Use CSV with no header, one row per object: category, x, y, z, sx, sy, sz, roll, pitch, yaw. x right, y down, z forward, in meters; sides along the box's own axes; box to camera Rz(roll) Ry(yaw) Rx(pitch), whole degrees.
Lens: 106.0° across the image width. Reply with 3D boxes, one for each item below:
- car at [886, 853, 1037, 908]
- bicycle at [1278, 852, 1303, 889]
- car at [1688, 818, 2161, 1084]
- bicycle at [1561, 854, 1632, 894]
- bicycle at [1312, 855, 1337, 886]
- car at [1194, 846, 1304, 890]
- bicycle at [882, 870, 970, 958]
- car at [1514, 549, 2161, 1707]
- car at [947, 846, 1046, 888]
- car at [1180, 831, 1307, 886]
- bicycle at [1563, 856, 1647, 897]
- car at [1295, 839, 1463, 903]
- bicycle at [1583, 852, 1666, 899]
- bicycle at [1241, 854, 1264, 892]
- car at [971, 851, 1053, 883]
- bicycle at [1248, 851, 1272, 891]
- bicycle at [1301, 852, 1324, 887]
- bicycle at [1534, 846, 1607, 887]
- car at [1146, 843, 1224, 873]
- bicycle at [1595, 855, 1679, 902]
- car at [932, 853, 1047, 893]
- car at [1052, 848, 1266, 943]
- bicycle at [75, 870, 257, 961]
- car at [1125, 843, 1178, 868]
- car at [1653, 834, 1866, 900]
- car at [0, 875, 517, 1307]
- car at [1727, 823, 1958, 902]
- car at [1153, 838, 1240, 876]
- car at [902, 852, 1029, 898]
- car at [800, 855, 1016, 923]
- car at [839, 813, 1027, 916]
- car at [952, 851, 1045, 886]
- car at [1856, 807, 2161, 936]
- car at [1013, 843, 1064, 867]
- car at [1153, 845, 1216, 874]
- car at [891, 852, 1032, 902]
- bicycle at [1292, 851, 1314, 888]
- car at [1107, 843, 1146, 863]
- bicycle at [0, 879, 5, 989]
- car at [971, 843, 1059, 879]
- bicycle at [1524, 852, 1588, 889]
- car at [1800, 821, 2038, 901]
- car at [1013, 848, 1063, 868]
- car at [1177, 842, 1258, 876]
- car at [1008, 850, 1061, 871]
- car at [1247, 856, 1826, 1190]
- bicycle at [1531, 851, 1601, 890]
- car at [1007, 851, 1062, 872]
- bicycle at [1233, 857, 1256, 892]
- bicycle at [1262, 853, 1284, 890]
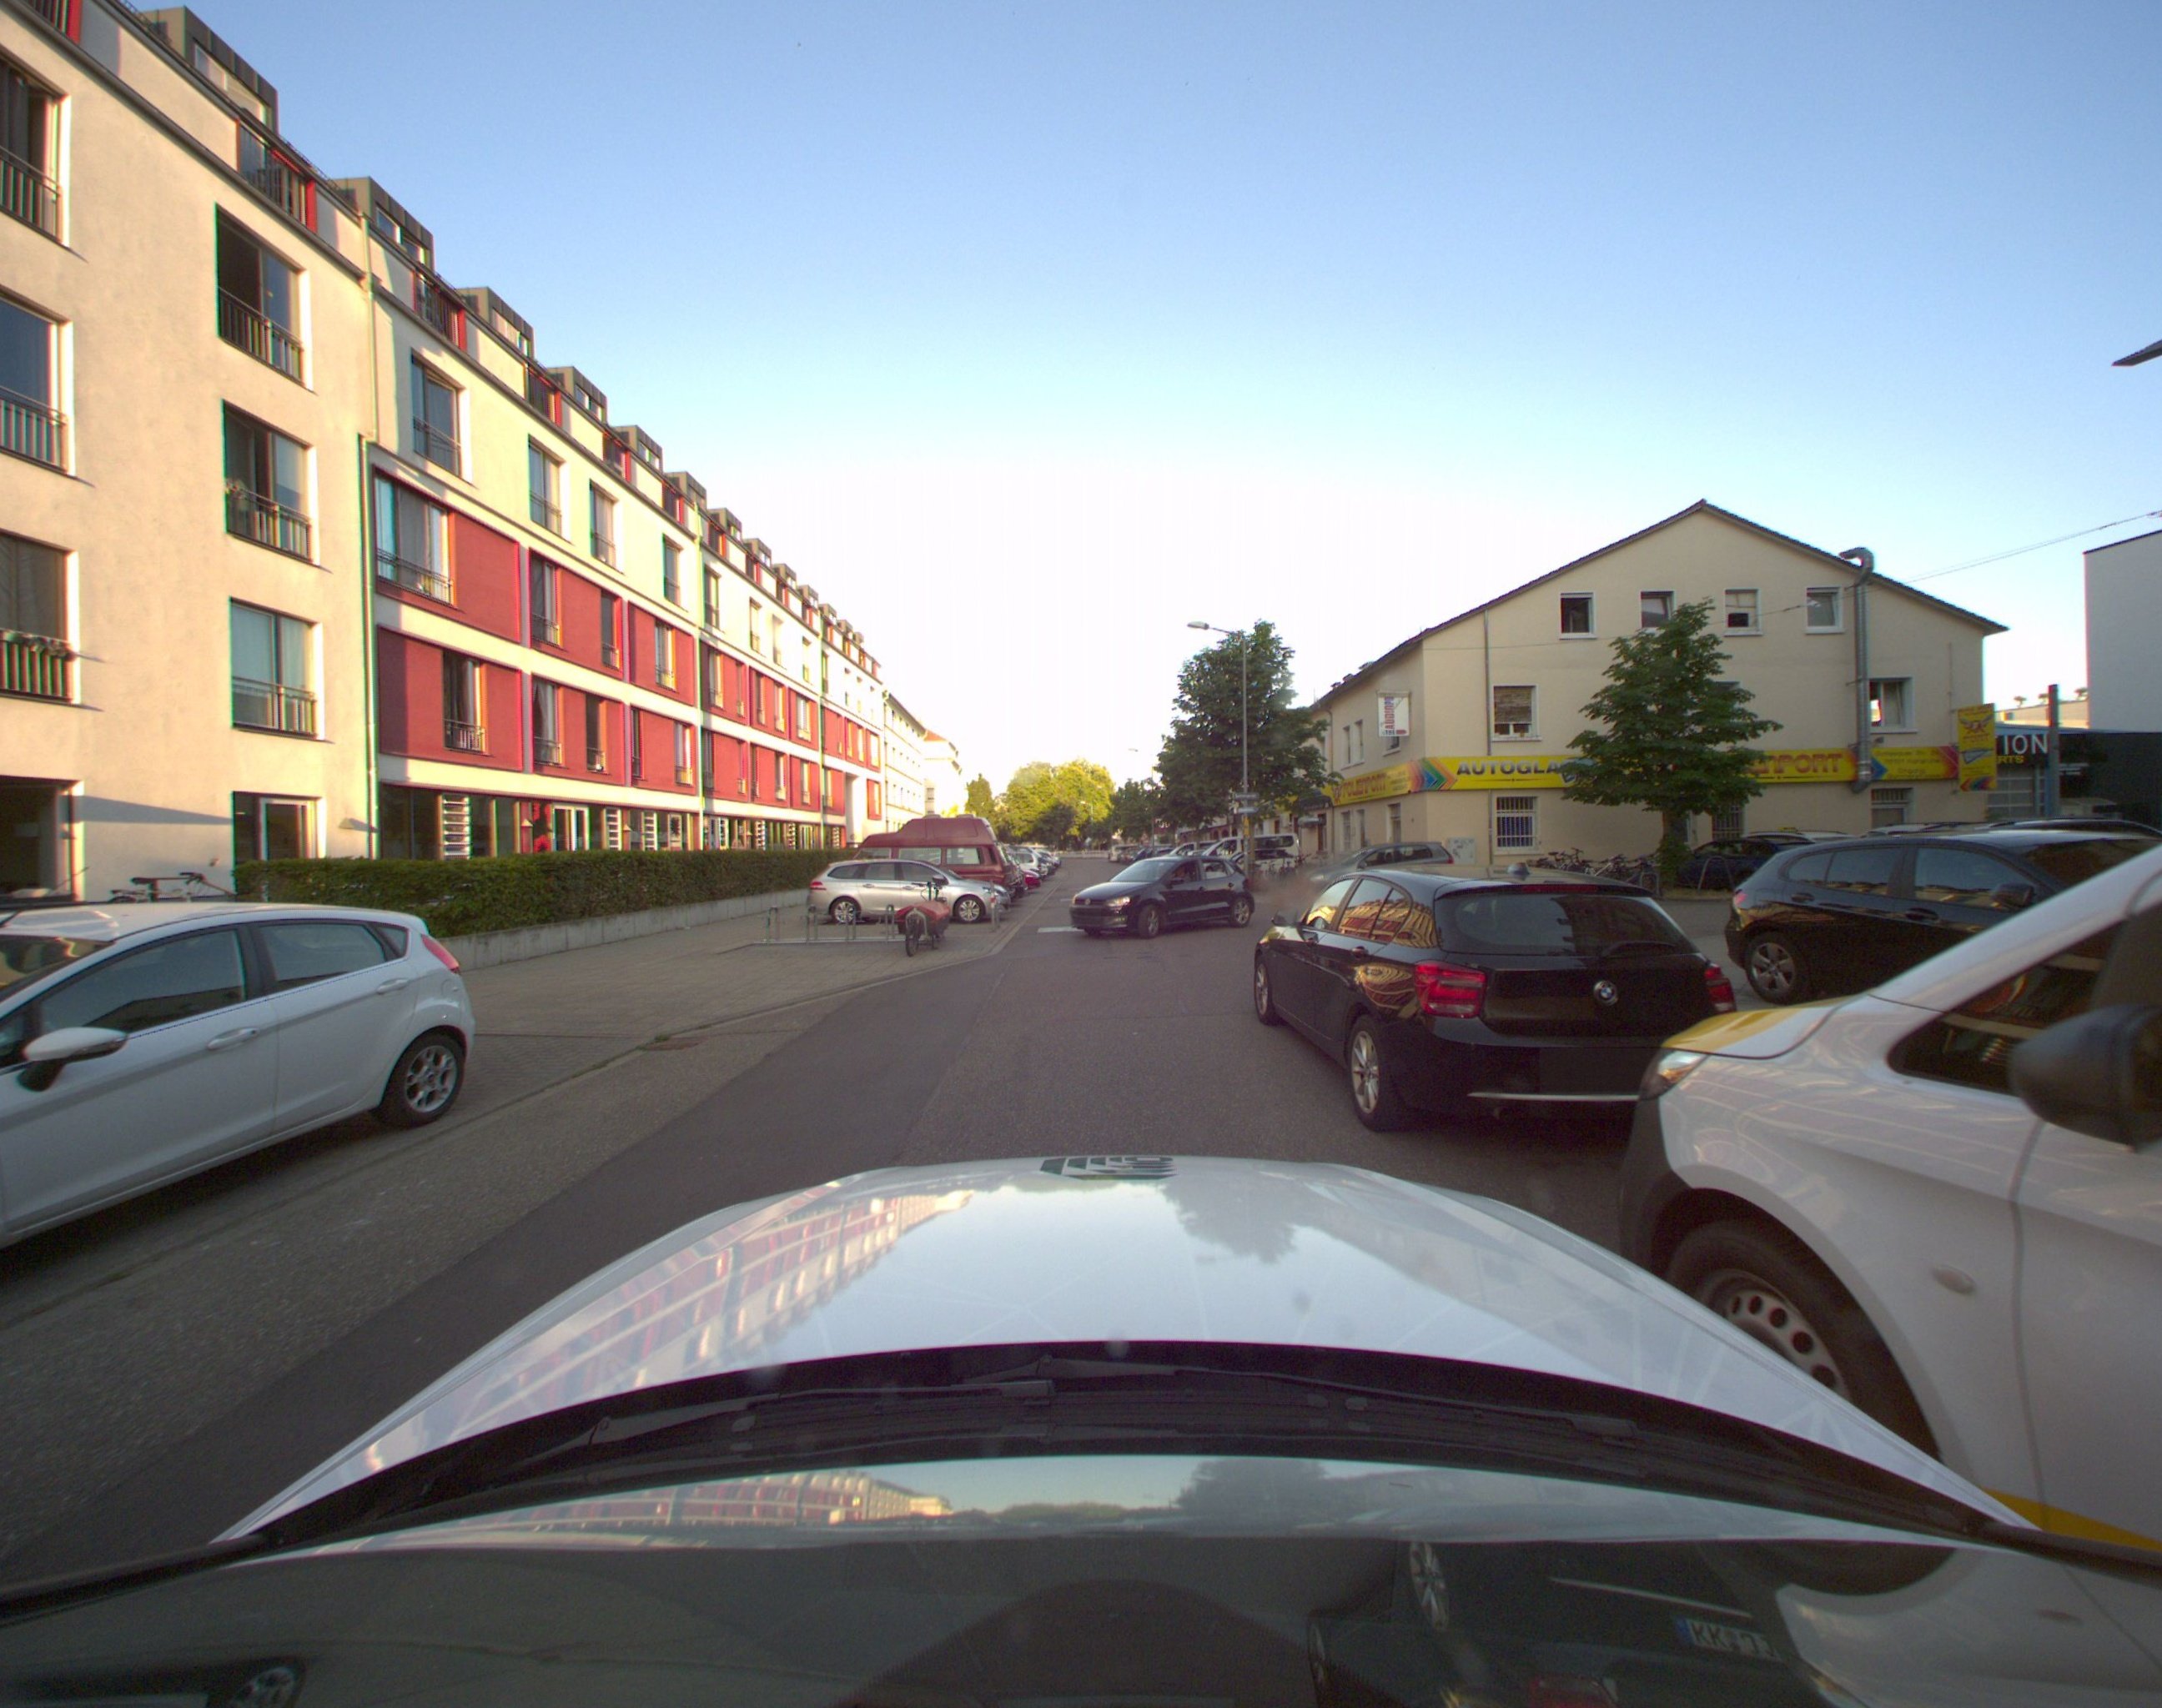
car,-3.422,0.747,23.950,4.197,1.538,1.790,0,0,-1
bicycle,7.112,0.530,27.724,0.443,1.200,1.481,-2,0,1
car,6.732,0.500,5.638,1.721,1.424,4.422,-3,0,0
bicycle,13.525,0.520,21.377,1.596,1.041,0.344,0,2,2
bicycle,8.307,0.539,27.830,0.386,1.017,1.482,-2,0,1
car,6.549,0.545,32.049,3.908,1.451,1.767,-3,0,-2
bicycle,-2.491,0.916,13.496,0.804,1.221,2.867,0,0,2
car,2.396,0.525,0.223,1.887,1.884,5.082,-1,0,0
car,-3.789,0.574,36.985,4.242,1.836,2.000,0,0,0
car,6.856,0.190,34.833,4.972,1.983,2.220,-3,0,1
bicycle,13.392,0.565,20.851,1.842,1.010,0.428,0,2,2
car,8.210,0.437,22.674,4.035,1.514,1.757,-3,2,1
bicycle,13.478,0.520,20.211,1.917,1.128,0.427,0,1,-8
bicycle,5.862,0.628,27.916,0.384,1.200,2.018,-2,0,1
car,-3.675,0.677,43.813,4.242,1.652,1.888,0,0,0
bicycle,6.121,0.561,27.923,0.384,1.304,2.018,-2,0,1
bicycle,7.901,0.504,27.788,0.351,1.143,1.481,-2,0,1
bicycle,14.092,0.355,23.458,1.853,1.149,0.344,0,2,2
car,6.993,0.247,54.948,4.930,1.689,2.076,-3,0,-1
bicycle,13.488,0.587,19.764,1.848,1.075,0.427,-1,2,-8
car,-3.467,0.731,31.561,4.194,1.490,1.850,0,0,1
car,1.551,0.681,15.345,3.961,1.455,1.638,-2,1,-39
bicycle,-12.020,0.789,10.726,1.768,1.148,0.611,0,0,3
car,6.272,0.118,72.565,4.470,1.911,1.685,-3,0,-4
car,17.664,0.304,21.546,1.736,1.509,4.570,-2,0,-1
car,-4.902,0.938,3.924,1.646,1.530,4.014,-1,0,-2
car,19.890,0.156,21.621,1.866,1.831,4.577,-2,1,0
car,7.018,0.170,49.914,4.930,1.958,2.048,-3,0,-1
car,-4.000,0.714,28.783,4.197,1.575,1.999,0,0,-1
car,-3.844,0.764,18.807,4.604,1.460,1.879,0,0,-3
car,-3.776,0.257,21.385,4.494,2.584,2.001,0,0,2
car,-3.930,0.676,39.459,4.242,1.660,2.000,0,0,0
car,14.418,0.227,11.953,4.306,1.672,1.877,-2,-1,-1
car,-3.900,0.114,74.882,4.518,2.134,2.000,0,0,0
car,7.553,0.397,59.845,4.304,1.804,1.810,-3,0,-1
car,-3.839,0.724,26.521,4.187,1.538,1.845,0,0,6
bicycle,7.540,0.515,27.711,0.351,1.200,1.481,-2,0,1
car,4.924,-0.096,88.044,3.960,1.911,2.046,-3,0,-4
bicycle,-12.192,0.826,8.103,1.908,1.141,0.812,0,0,1
car,-3.708,0.400,46.370,4.834,2.021,1.907,0,0,0
bicycle,13.362,0.453,22.941,1.597,1.019,0.343,0,2,-1
car,22.192,0.217,21.883,1.866,1.902,4.331,-2,-1,0
car,-3.792,0.384,72.310,4.242,1.749,2.000,0,0,0
car,7.132,0.250,42.810,3.897,1.526,1.940,-3,0,1
car,-3.819,0.533,67.470,4.242,1.714,2.000,0,0,0
car,2.411,0.737,5.663,1.715,1.424,4.254,0,0,1
bicycle,13.455,0.455,22.592,1.725,1.070,0.343,0,2,-1
car,-3.695,0.592,64.727,4.243,1.622,2.000,0,0,-1
bicycle,5.579,0.682,27.932,0.384,1.114,2.018,-2,0,1
bicycle,6.538,0.578,27.762,0.384,1.200,1.481,-2,0,1
